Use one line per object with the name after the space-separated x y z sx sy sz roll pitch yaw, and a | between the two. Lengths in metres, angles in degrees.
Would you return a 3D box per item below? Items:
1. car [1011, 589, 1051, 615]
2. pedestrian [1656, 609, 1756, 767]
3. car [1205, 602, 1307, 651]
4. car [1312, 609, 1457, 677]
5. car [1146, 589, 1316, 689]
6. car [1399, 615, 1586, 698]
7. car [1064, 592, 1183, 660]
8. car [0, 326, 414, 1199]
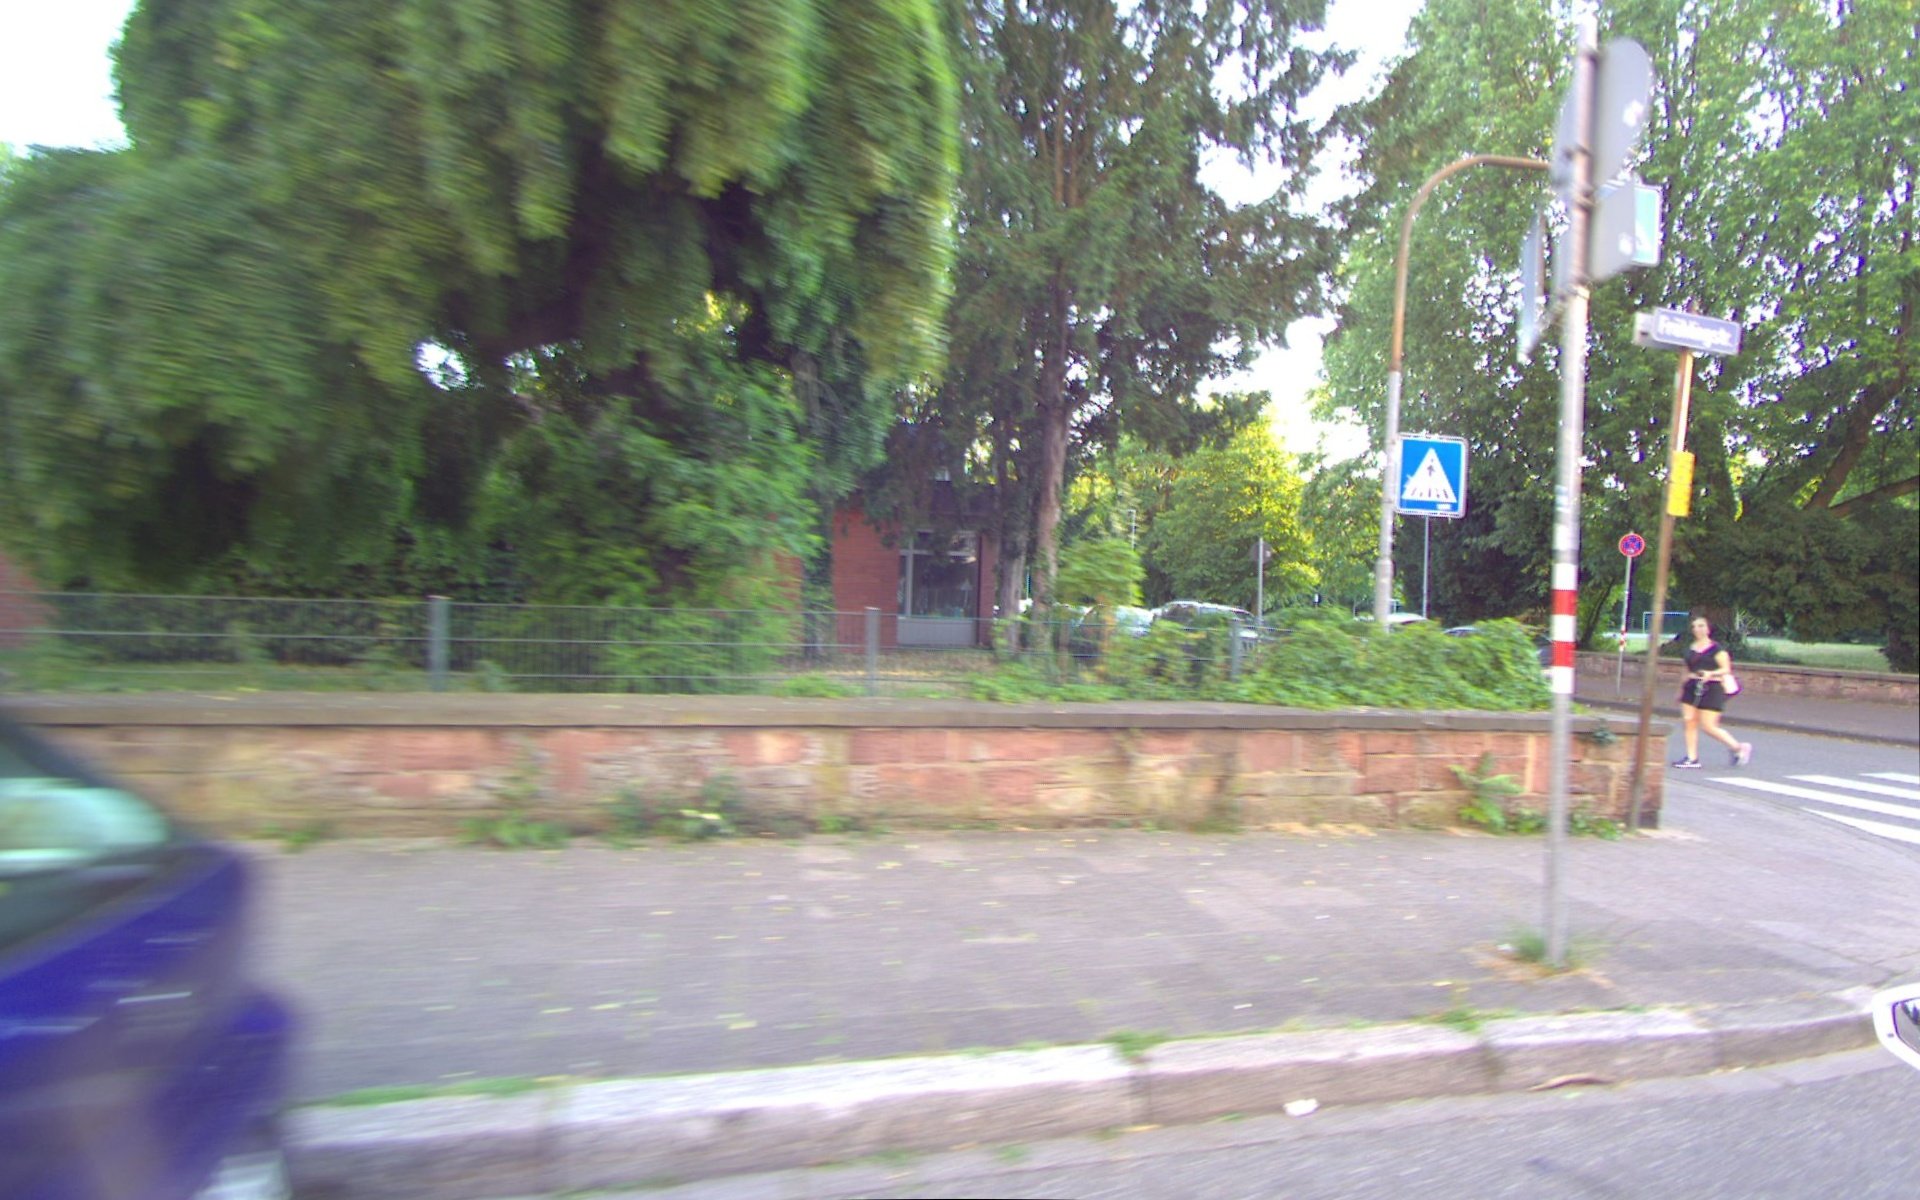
4.793 0.157 68.617 1.790 1.625 3.876 -5 0 -9 | car
8.355 0.955 11.261 0.666 1.671 0.643 0 3 -32 | pedestrian
10.105 0.881 34.579 1.790 1.459 3.876 -5 0 -9 | car
11.434 1.099 27.350 1.790 1.583 3.876 -5 0 -9 | car
5.651 0.782 21.540 1.791 1.822 4.234 5 -1 -10 | car
11.813 1.194 22.598 1.789 1.511 3.861 -5 0 -6 | car
4.322 0.687 27.286 1.791 1.565 4.234 5 -1 -10 | car
-2.875 0.502 1.027 3.728 1.588 1.733 1 -1 -16 | car
